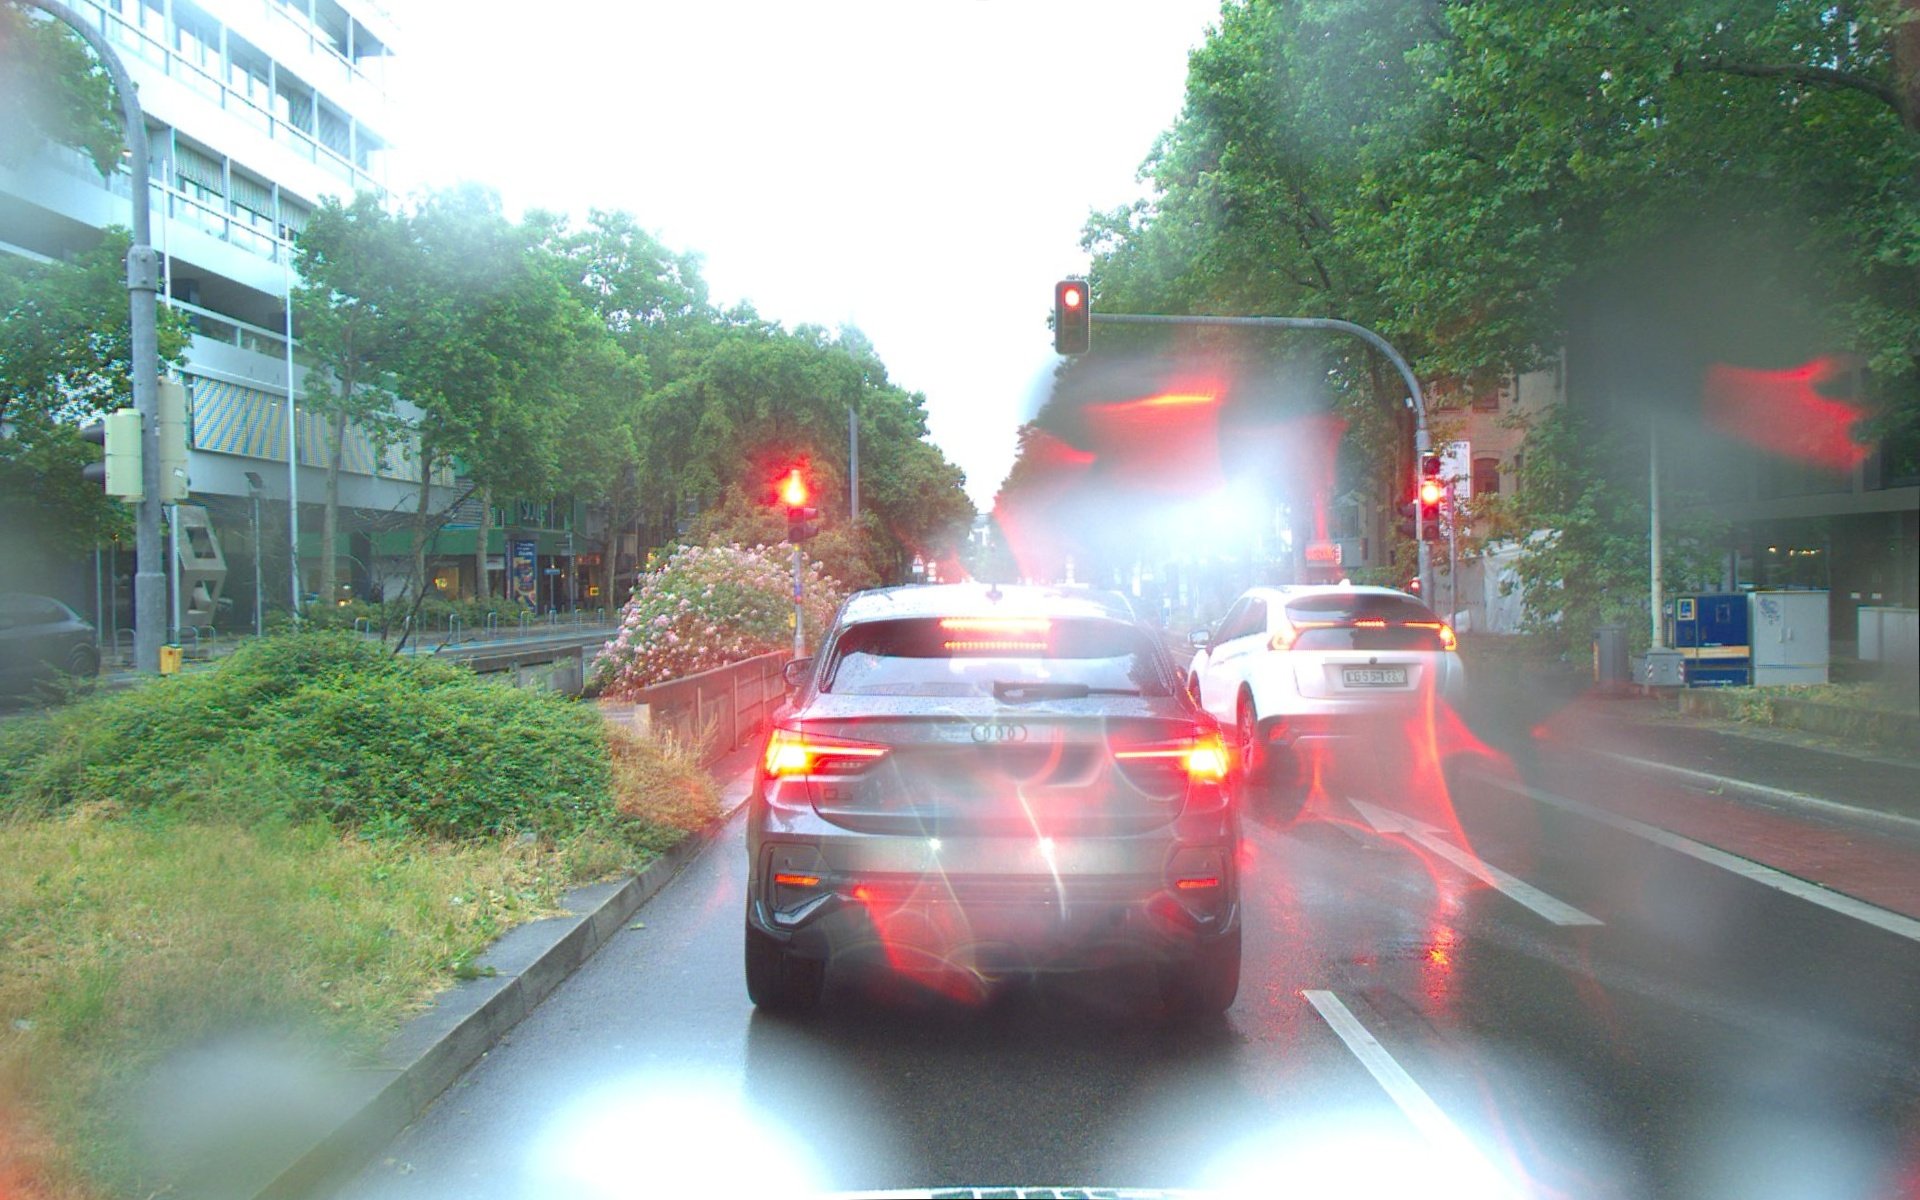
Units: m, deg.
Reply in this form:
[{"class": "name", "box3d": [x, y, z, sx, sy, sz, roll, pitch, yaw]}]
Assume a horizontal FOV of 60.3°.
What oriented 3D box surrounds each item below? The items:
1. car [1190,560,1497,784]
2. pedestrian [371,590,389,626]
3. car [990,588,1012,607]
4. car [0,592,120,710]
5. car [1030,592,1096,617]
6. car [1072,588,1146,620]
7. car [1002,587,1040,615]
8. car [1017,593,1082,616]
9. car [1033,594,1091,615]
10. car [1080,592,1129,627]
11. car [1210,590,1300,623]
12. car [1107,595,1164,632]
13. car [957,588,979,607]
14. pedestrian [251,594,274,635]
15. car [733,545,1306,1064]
[{"class": "car", "box3d": [3.289, 0.580, 14.990, 1.839, 1.727, 4.000, 1, 0, 0]}, {"class": "pedestrian", "box3d": [-24.627, 0.321, 70.178, 0.603, 1.508, 0.569, 1, -1, -29]}, {"class": "car", "box3d": [3.702, -0.230, 149.422, 1.952, 1.680, 4.000, 1, 0, 0]}, {"class": "car", "box3d": [-14.044, 0.690, 23.149, 1.869, 1.612, 4.748, 1, 0, 4]}, {"class": "car", "box3d": [7.675, 0.341, 123.292, 4.549, 1.736, 1.997, 1, -1, 28]}, {"class": "car", "box3d": [9.815, 0.257, 109.112, 4.519, 2.049, 1.959, 1, -1, 39]}, {"class": "car", "box3d": [3.943, 0.055, 107.065, 1.955, 1.757, 3.995, 1, 0, -5]}, {"class": "car", "box3d": [6.927, 0.358, 128.069, 4.549, 1.736, 1.997, 1, -1, 28]}, {"class": "car", "box3d": [8.684, 0.394, 140.719, 4.549, 1.736, 1.997, 1, -1, 28]}, {"class": "car", "box3d": [6.929, 0.470, 79.388, 1.693, 1.599, 4.070, 1, 0, -4]}, {"class": "car", "box3d": [10.468, 0.235, 58.766, 2.831, 1.093, 1.452, 1, -1, 31]}, {"class": "car", "box3d": [7.232, 0.538, 68.621, 1.835, 1.446, 4.611, 1, 0, 0]}, {"class": "car", "box3d": [0.683, -0.184, 144.524, 1.857, 1.627, 3.938, 1, 0, -1]}, {"class": "pedestrian", "box3d": [-24.216, 0.501, 57.408, 0.626, 1.404, 0.473, 1, -1, -12]}, {"class": "car", "box3d": [0.162, 0.644, 7.229, 1.812, 1.630, 3.999, 0, 0, -1]}]
